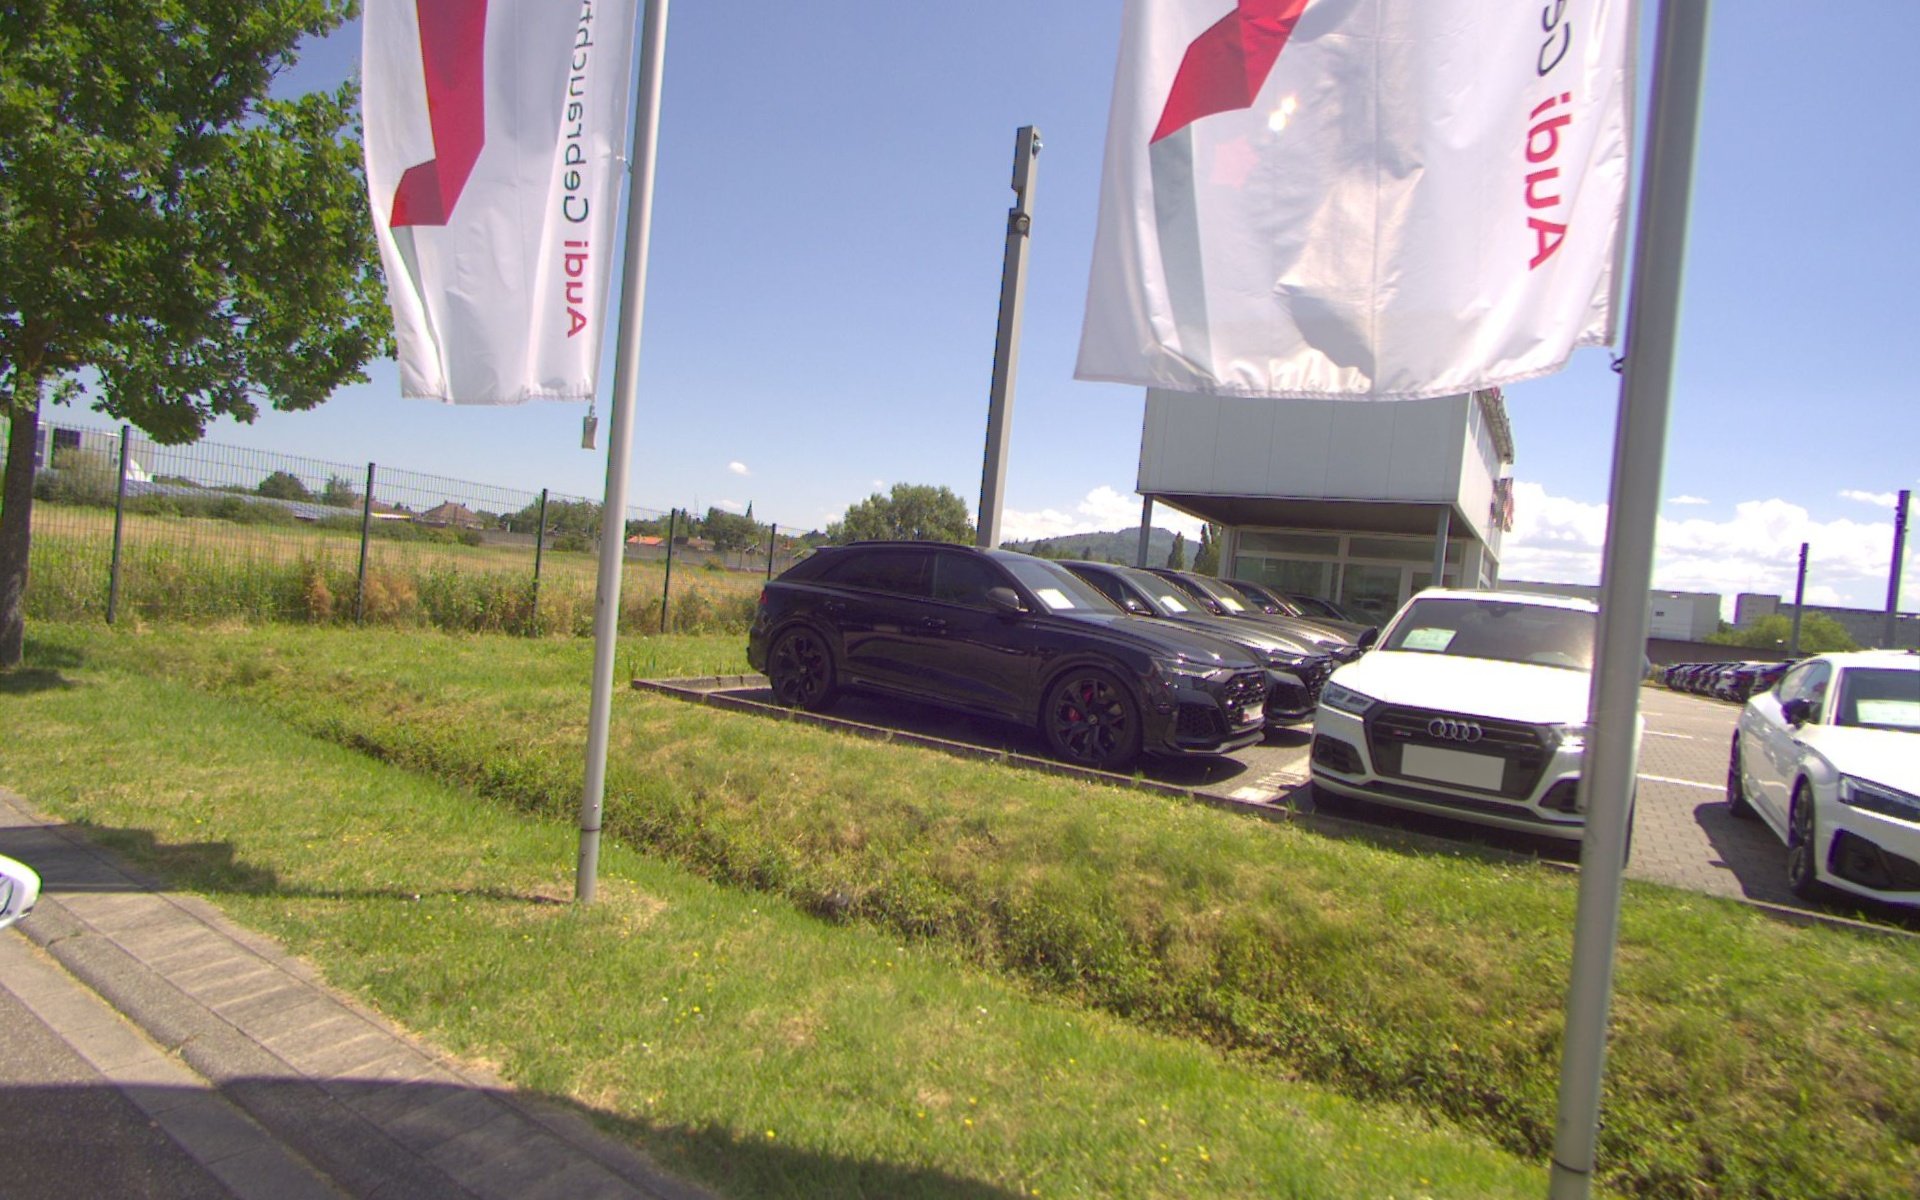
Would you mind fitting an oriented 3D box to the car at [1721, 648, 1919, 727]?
[{"bbox_3d":[24.982,2.471,28.847,4.700,1.611,2.025,6,2,32],"label":"car"}]

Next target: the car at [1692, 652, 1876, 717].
[{"bbox_3d":[29.252,2.946,35.945,4.700,1.611,2.025,6,2,32],"label":"car"}]

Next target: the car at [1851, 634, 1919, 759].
[{"bbox_3d":[14.877,1.509,12.936,4.700,1.611,2.025,6,2,32],"label":"car"}]

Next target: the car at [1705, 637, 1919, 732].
[{"bbox_3d":[19.903,1.908,22.684,4.700,1.611,2.025,6,2,32],"label":"car"}]

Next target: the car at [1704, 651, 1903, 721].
[{"bbox_3d":[27.952,2.798,33.596,4.700,1.611,2.025,6,2,32],"label":"car"}]

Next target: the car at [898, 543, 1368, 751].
[{"bbox_3d":[1.847,0.393,11.405,4.731,1.632,2.024,6,2,33],"label":"car"}]

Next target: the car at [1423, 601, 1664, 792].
[{"bbox_3d":[7.136,1.021,12.376,1.997,1.715,4.530,7,2,31],"label":"car"}]

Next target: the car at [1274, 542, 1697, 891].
[{"bbox_3d":[4.020,0.653,7.753,1.997,1.715,4.531,6,2,30],"label":"car"}]

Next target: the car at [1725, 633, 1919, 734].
[{"bbox_3d":[18.451,1.725,20.109,4.700,1.611,2.025,6,2,32],"label":"car"}]

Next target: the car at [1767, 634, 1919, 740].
[{"bbox_3d":[17.340,1.656,17.565,4.700,1.611,2.025,6,2,32],"label":"car"}]

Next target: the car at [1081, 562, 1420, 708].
[{"bbox_3d":[4.587,0.471,16.159,4.731,1.702,2.024,6,2,33],"label":"car"}]

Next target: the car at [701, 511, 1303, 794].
[{"bbox_3d":[0.206,0.276,9.114,5.025,1.715,2.024,6,2,33],"label":"car"}]

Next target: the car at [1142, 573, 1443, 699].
[{"bbox_3d":[5.981,0.578,18.344,4.731,1.676,2.024,6,2,33],"label":"car"}]

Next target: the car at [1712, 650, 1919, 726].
[{"bbox_3d":[26.576,2.665,31.390,4.700,1.611,2.025,6,2,32],"label":"car"}]

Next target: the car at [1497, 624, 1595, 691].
[{"bbox_3d":[15.724,1.583,27.112,1.997,1.431,4.537,6,-1,30],"label":"car"}]

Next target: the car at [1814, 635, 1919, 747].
[{"bbox_3d":[16.334,1.591,15.278,4.699,1.611,2.025,6,2,31],"label":"car"}]

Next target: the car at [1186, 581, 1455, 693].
[{"bbox_3d":[7.326,0.691,20.637,4.731,1.676,2.024,6,2,33],"label":"car"}]

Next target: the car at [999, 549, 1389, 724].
[{"bbox_3d":[3.145,0.394,13.927,4.731,1.748,2.024,6,2,33],"label":"car"}]

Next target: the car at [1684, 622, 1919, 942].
[{"bbox_3d":[6.224,1.001,6.408,1.997,1.476,4.531,6,2,30],"label":"car"}]

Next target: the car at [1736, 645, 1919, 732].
[{"bbox_3d":[21.997,2.180,24.378,4.700,1.611,2.025,6,2,32],"label":"car"}]
